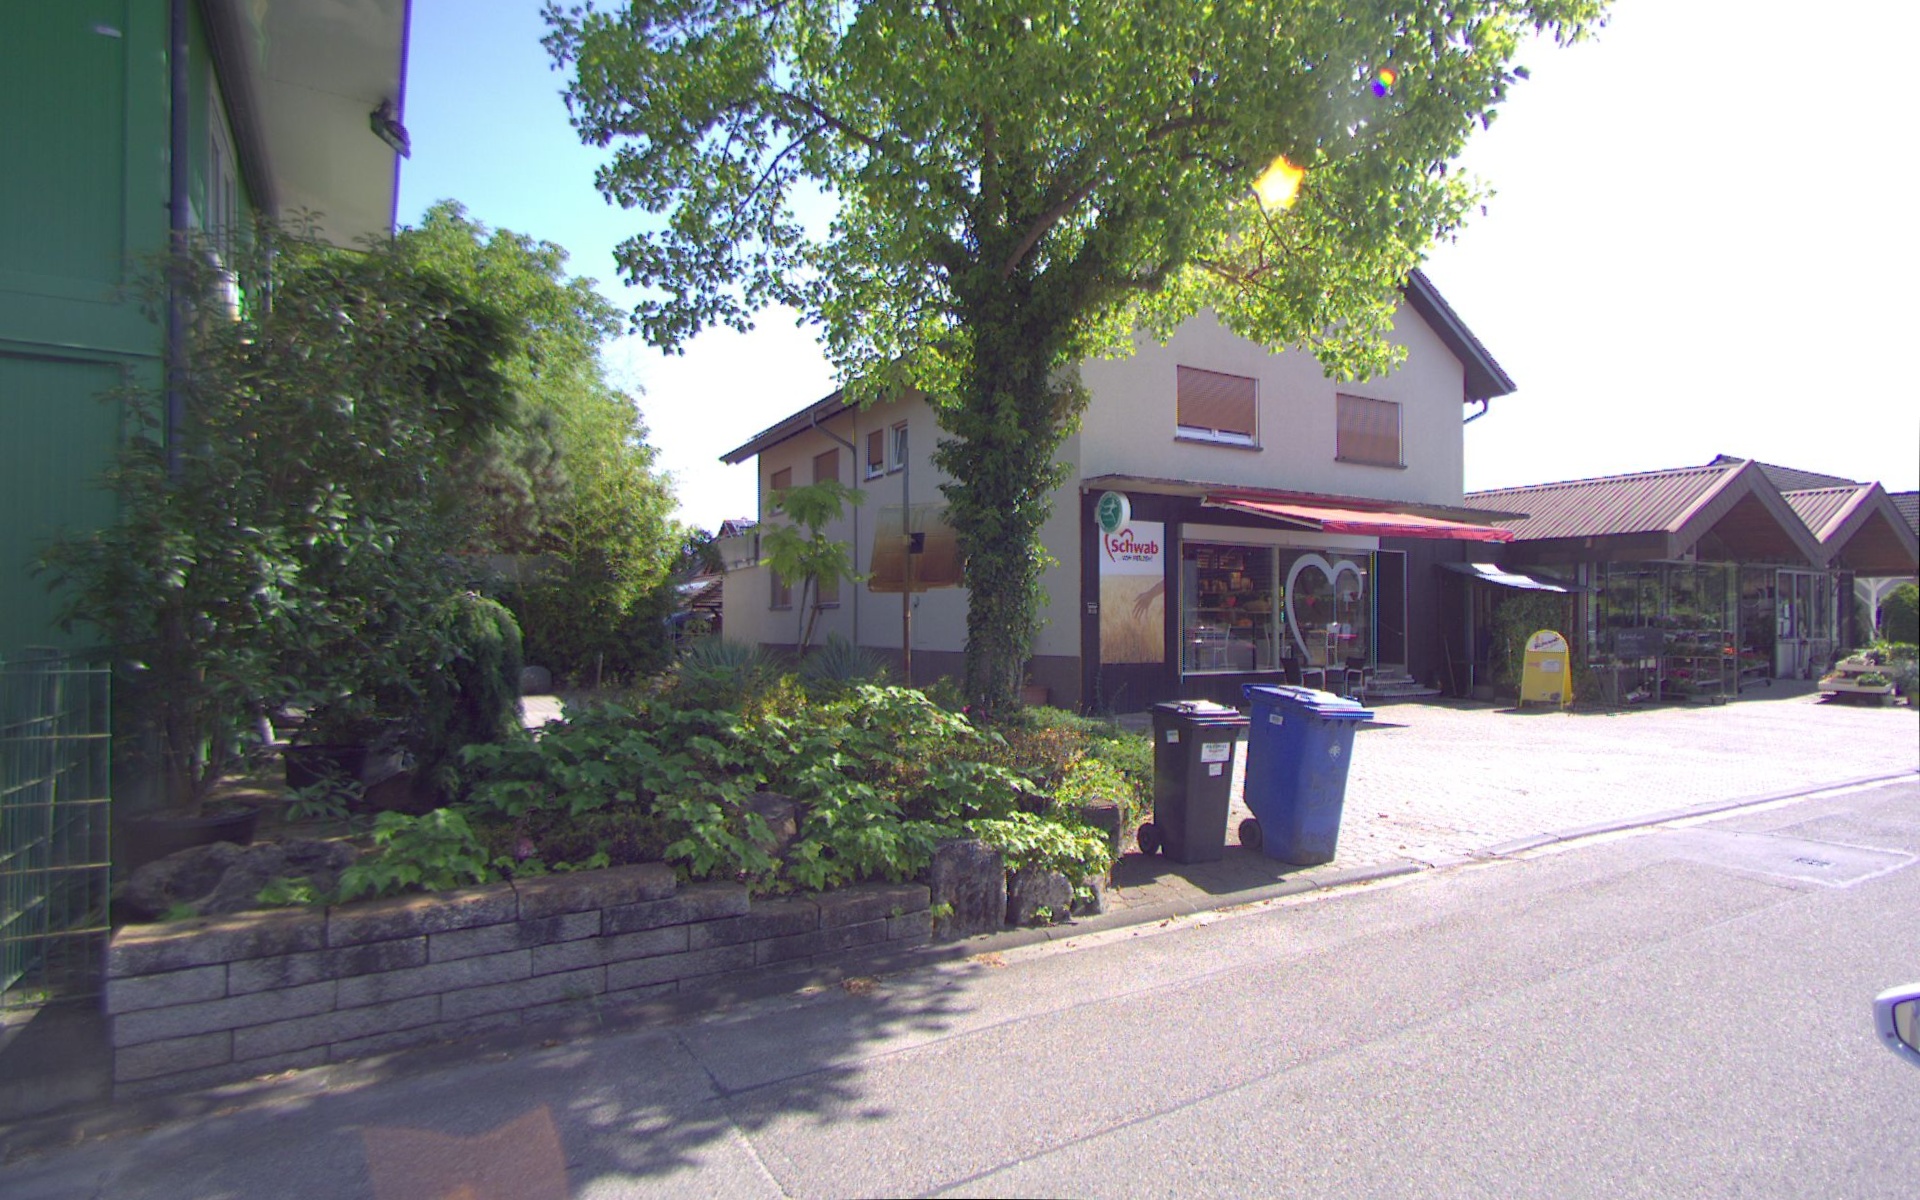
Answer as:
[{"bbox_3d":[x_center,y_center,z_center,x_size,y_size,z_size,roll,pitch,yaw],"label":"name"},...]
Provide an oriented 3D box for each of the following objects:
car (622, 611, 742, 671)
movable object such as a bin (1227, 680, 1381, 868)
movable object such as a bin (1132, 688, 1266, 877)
[{"bbox_3d":[-11.963,1.737,43.244,4.598,2.441,2.176,1,-2,-32],"label":"car"},{"bbox_3d":[2.231,1.091,6.554,0.605,1.068,0.727,1,0,-31],"label":"movable object such as a bin"},{"bbox_3d":[1.475,1.098,6.241,0.561,1.038,0.580,1,0,-31],"label":"movable object such as a bin"}]
